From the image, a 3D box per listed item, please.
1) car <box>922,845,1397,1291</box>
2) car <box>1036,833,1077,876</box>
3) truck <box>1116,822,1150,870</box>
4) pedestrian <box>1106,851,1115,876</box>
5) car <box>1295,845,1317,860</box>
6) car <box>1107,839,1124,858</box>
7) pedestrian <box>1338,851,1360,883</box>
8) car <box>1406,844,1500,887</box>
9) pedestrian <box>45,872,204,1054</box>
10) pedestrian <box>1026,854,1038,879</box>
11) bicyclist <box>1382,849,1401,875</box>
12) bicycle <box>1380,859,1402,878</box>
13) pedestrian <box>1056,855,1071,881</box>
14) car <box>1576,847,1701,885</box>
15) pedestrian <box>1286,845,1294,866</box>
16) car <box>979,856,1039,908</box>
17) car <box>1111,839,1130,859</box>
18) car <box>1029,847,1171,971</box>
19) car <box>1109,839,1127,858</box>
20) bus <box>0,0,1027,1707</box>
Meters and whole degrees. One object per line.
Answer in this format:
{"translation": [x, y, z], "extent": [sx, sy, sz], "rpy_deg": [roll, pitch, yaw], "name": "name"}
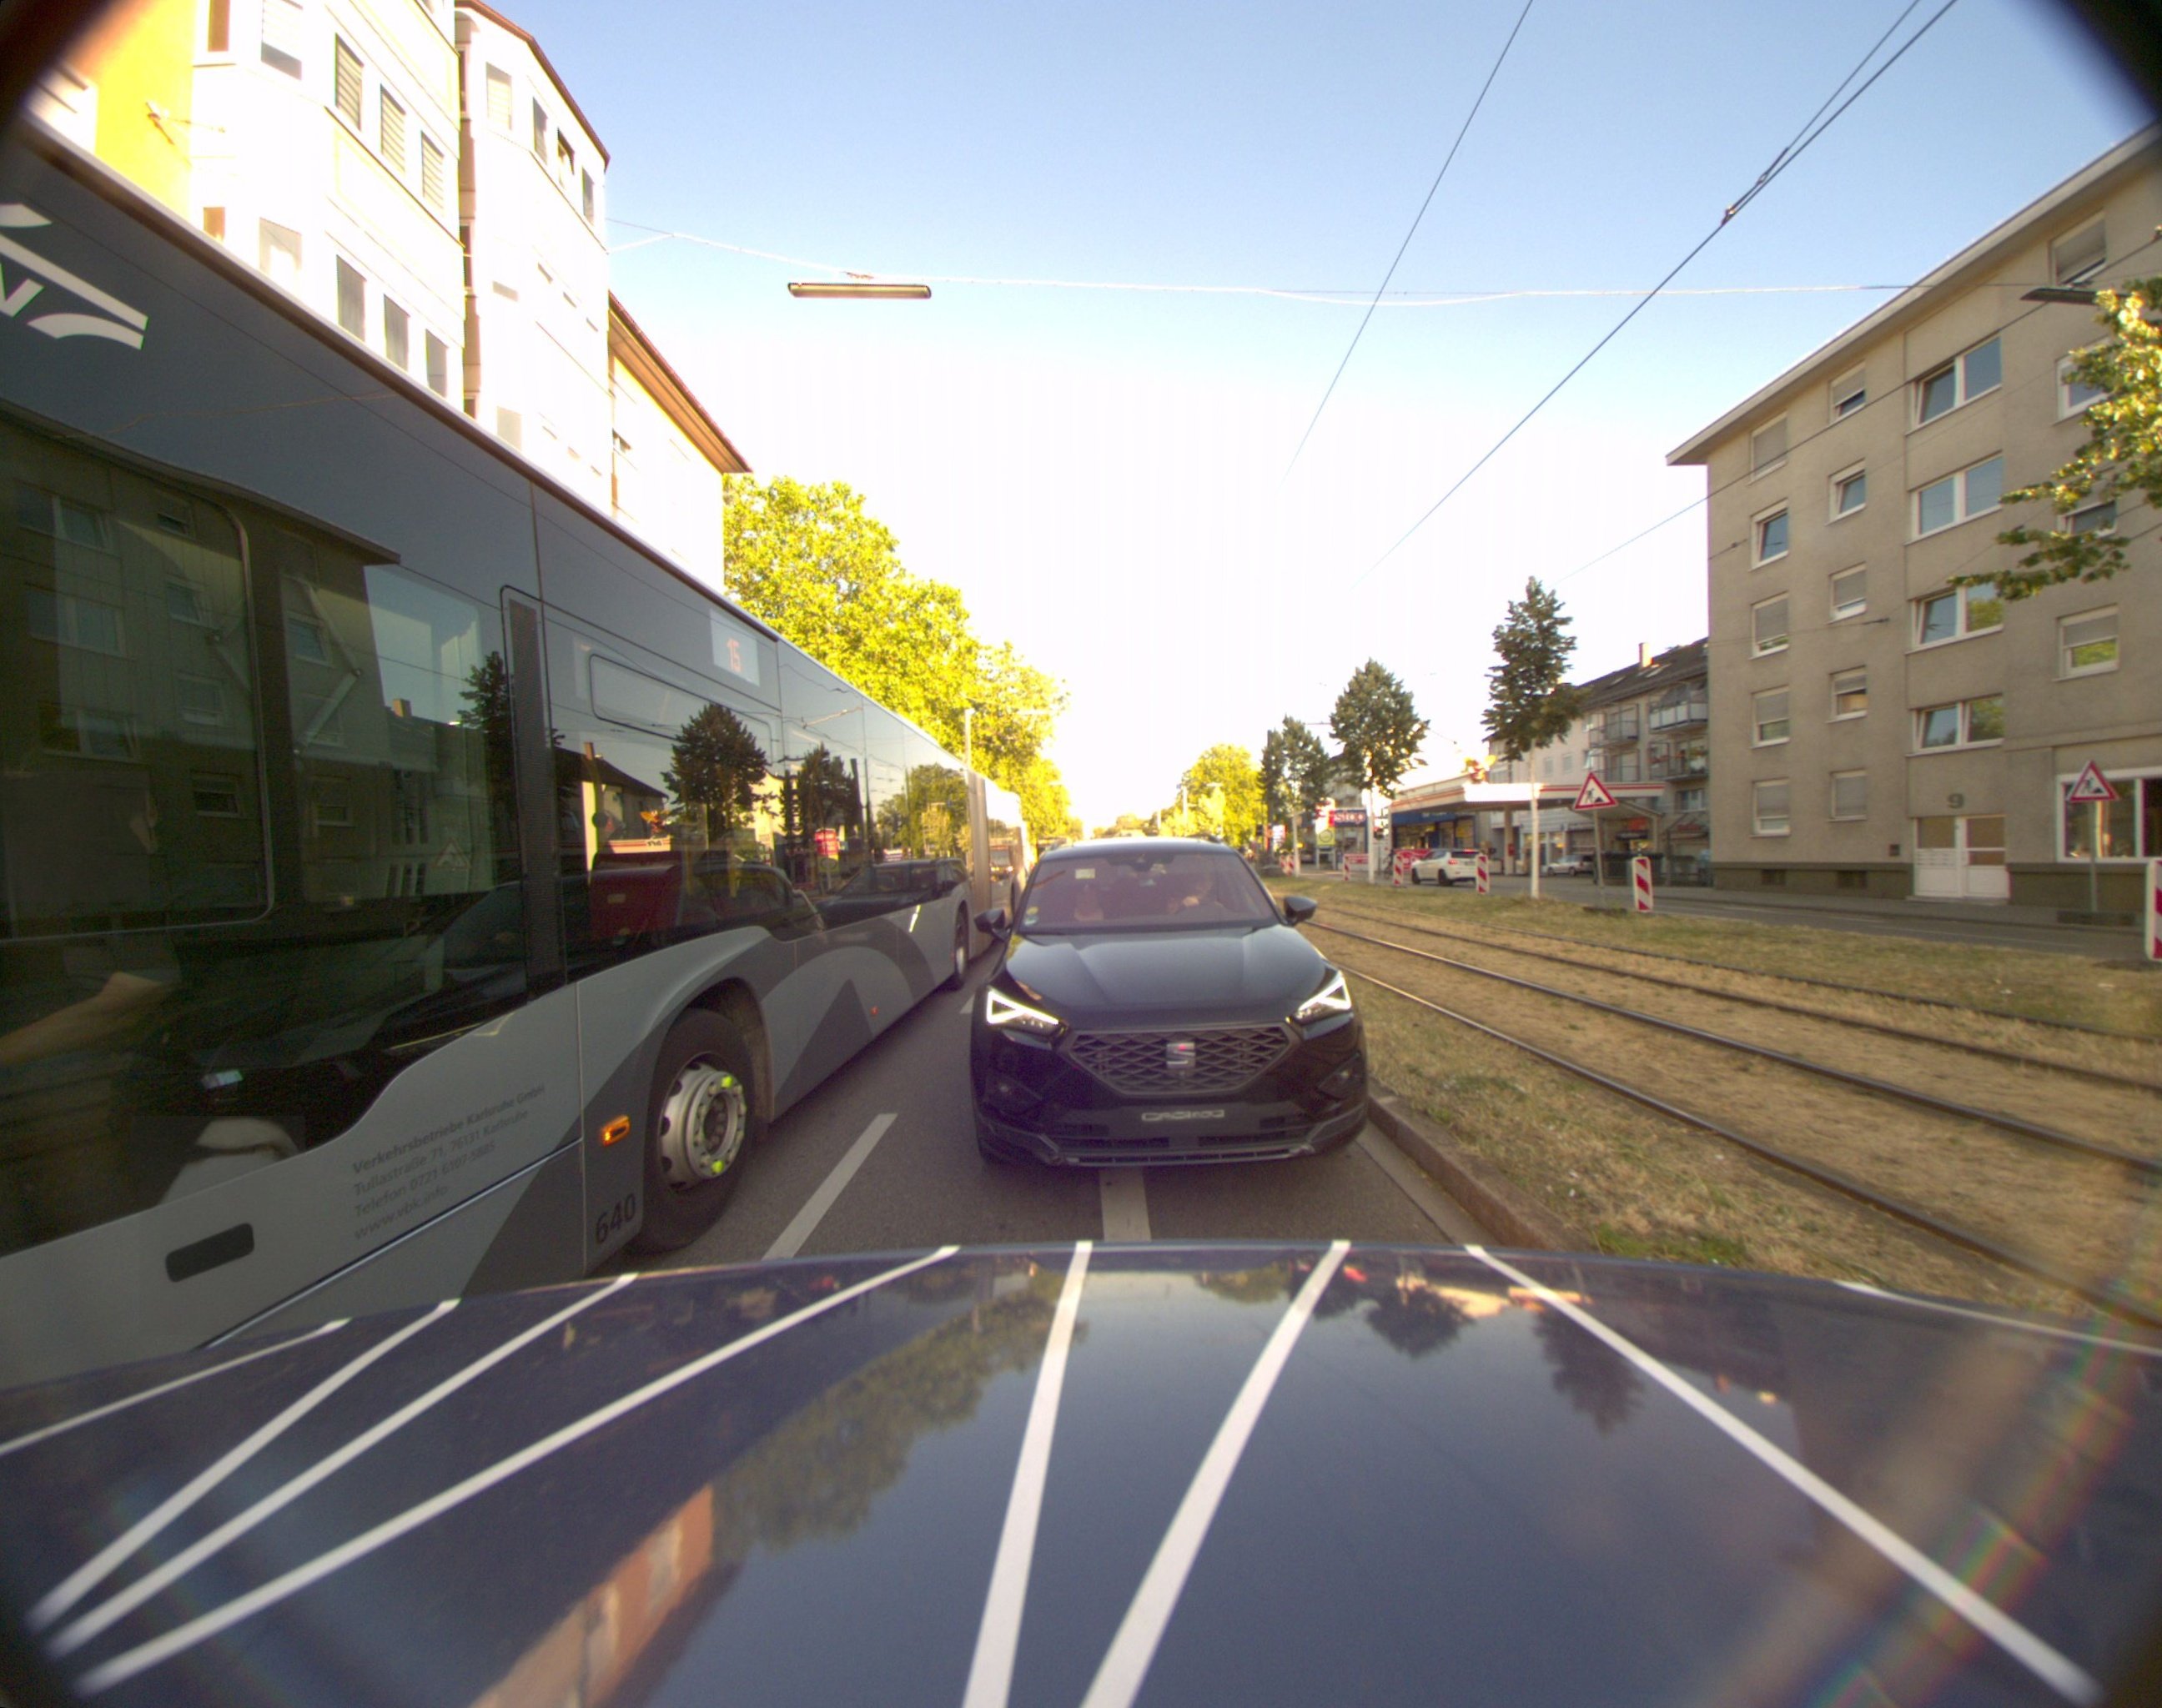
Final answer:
{"translation": [0.329, 0.823, 4.916], "extent": [1.774, 1.667, 4.000], "rpy_deg": [-2, 0, 1], "name": "car"}
{"translation": [-1.718, 0.022, 55.714], "extent": [2.681, 2.875, 5.452], "rpy_deg": [-2, 1, 0], "name": "car"}
{"translation": [4.315, -0.697, 64.526], "extent": [2.306, 3.798, 7.723], "rpy_deg": [-2, 1, 1], "name": "truck"}
{"translation": [2.401, 0.768, 61.746], "extent": [0.625, 2.002, 0.695], "rpy_deg": [-2, 0, 0], "name": "pedestrian"}
{"translation": [25.098, -0.214, 84.821], "extent": [1.781, 1.547, 4.002], "rpy_deg": [-2, 1, 9], "name": "car"}
{"translation": [3.990, -0.632, 87.881], "extent": [1.767, 2.002, 3.791], "rpy_deg": [-2, 1, 1], "name": "car"}
{"translation": [11.006, 0.544, 31.216], "extent": [0.664, 1.263, 0.581], "rpy_deg": [-2, 0, 1], "name": "pedestrian"}
{"translation": [16.205, 0.451, 33.395], "extent": [1.998, 1.725, 4.393], "rpy_deg": [0, 1, 0], "name": "car"}
{"translation": [-8.756, 0.963, 6.985], "extent": [0.580, 1.574, 0.668], "rpy_deg": [0, 1, 1], "name": "pedestrian"}
{"translation": [-2.984, 0.736, 46.318], "extent": [0.618, 1.482, 0.438], "rpy_deg": [-2, 1, -13], "name": "pedestrian"}
{"translation": [17.433, 0.447, 42.611], "extent": [0.780, 1.438, 0.650], "rpy_deg": [-1, 1, -2], "name": "bicyclist"}
{"translation": [17.438, 0.789, 42.784], "extent": [0.447, 1.038, 1.860], "rpy_deg": [0, 0, -2], "name": "bicycle"}
{"translation": [-1.074, 0.830, 46.249], "extent": [0.700, 1.552, 0.508], "rpy_deg": [-3, 1, -35], "name": "pedestrian"}
{"translation": [22.775, 0.501, 31.147], "extent": [3.727, 1.460, 1.908], "rpy_deg": [0, -1, 0], "name": "car"}
{"translation": [20.618, 0.135, 74.901], "extent": [0.632, 2.002, 0.583], "rpy_deg": [0, 1, 2], "name": "pedestrian"}
{"translation": [-2.465, 0.933, 26.897], "extent": [1.750, 1.598, 3.823], "rpy_deg": [-2, 1, -1], "name": "car"}
{"translation": [4.063, -0.530, 78.527], "extent": [1.767, 2.002, 3.791], "rpy_deg": [-2, 1, 1], "name": "car"}
{"translation": [0.291, 0.771, 12.705], "extent": [1.998, 1.739, 4.000], "rpy_deg": [0, 0, 1], "name": "car"}
{"translation": [4.061, -0.586, 83.560], "extent": [1.767, 2.002, 3.791], "rpy_deg": [-2, 1, 1], "name": "car"}
{"translation": [-2.783, 0.188, 8.978], "extent": [2.773, 3.131, 17.740], "rpy_deg": [-2, 0, 1], "name": "bus"}
